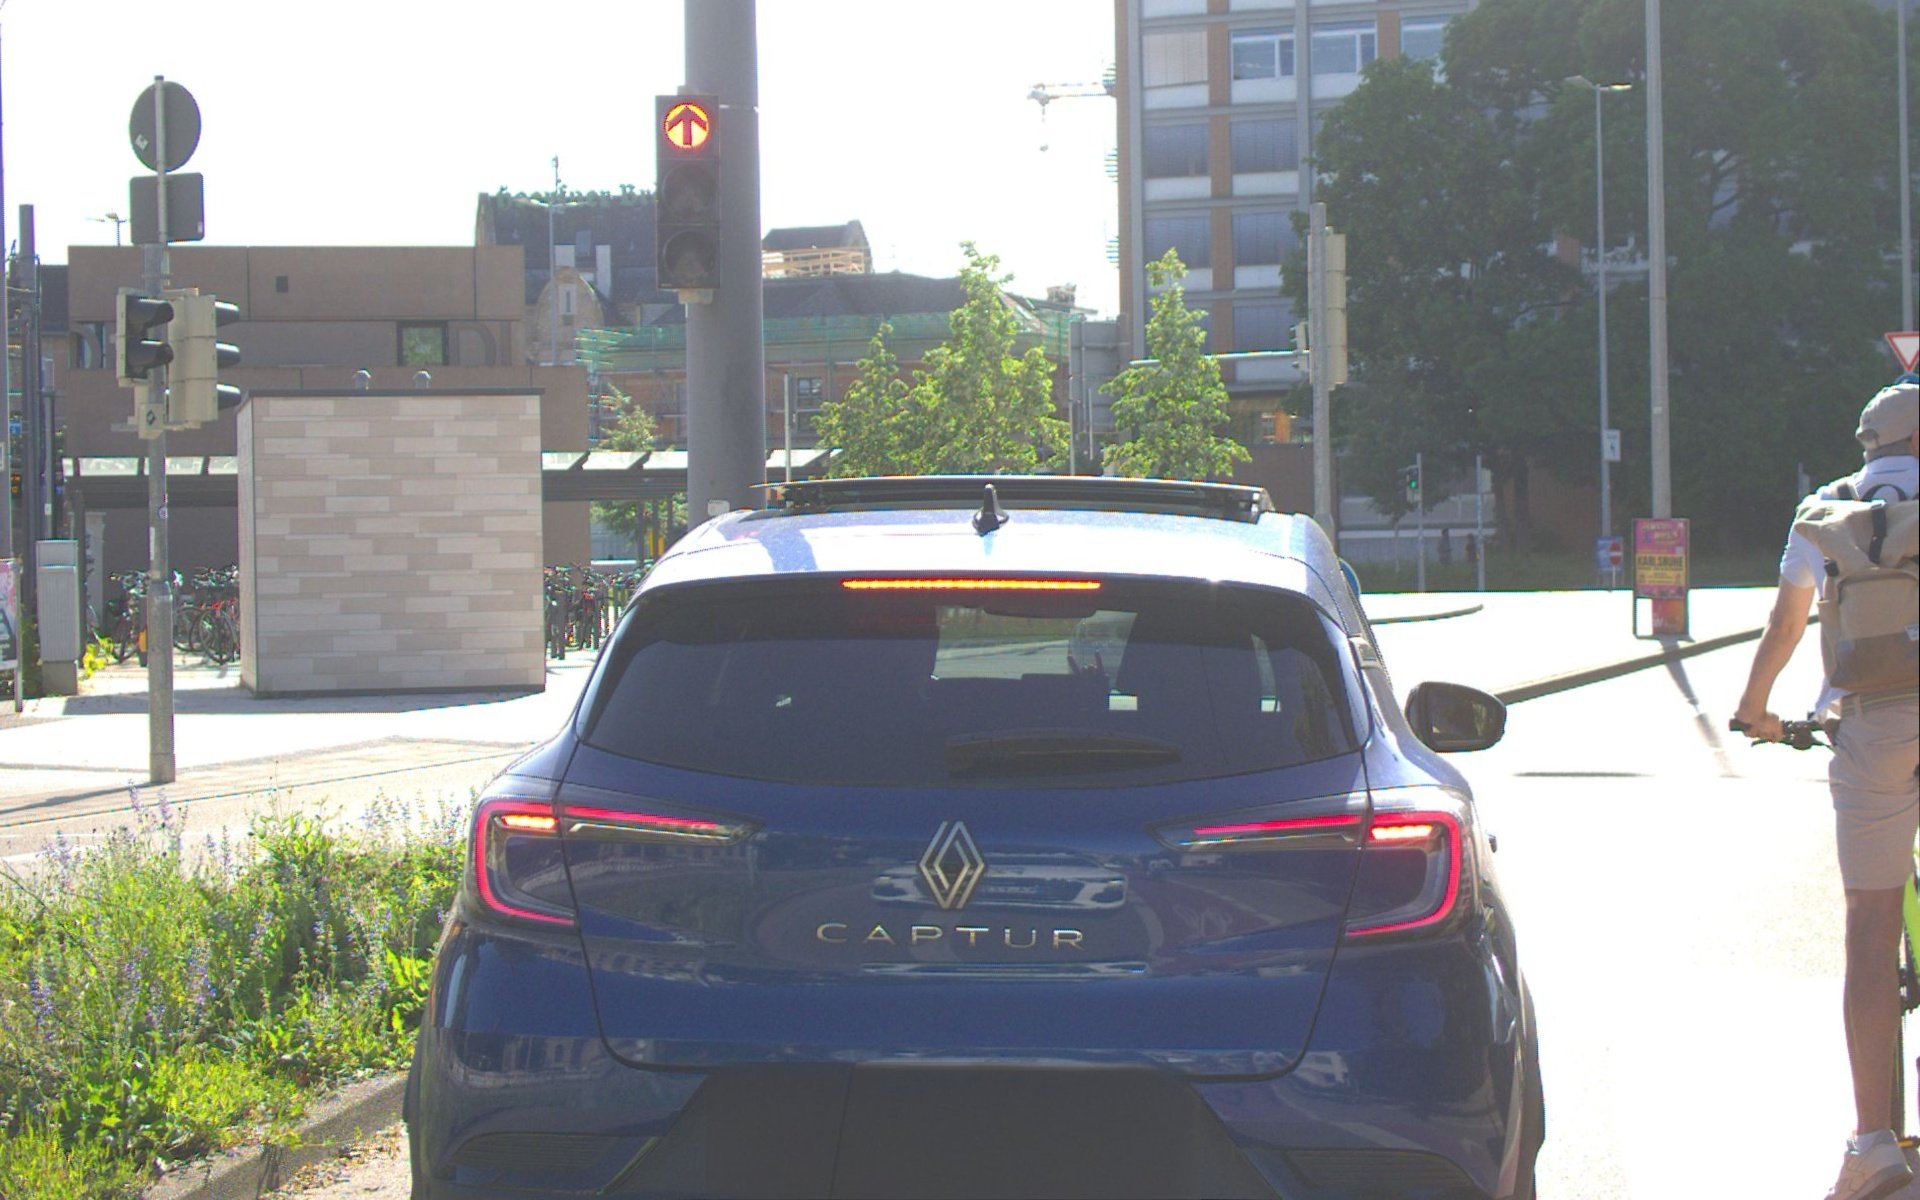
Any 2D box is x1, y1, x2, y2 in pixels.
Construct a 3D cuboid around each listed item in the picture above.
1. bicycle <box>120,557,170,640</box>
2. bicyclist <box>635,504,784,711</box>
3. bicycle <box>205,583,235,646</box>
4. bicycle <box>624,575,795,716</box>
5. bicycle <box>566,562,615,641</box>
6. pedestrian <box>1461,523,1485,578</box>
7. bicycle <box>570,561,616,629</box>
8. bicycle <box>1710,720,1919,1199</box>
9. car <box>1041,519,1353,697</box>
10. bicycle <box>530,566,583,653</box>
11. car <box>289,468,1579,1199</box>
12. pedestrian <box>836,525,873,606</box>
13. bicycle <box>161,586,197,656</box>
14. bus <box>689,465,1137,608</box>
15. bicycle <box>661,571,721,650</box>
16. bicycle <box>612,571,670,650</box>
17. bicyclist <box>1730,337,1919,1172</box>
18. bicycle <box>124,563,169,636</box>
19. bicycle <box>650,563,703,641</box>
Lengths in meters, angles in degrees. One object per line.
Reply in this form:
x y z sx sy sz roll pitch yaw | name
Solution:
-10.881 -0.016 45.916 0.565 1.090 2.030 0 0 -11 | bicycle
-2.031 0.057 28.009 0.880 1.639 1.060 -1 0 14 | bicyclist
-11.329 0.222 52.662 0.421 0.934 1.379 1 1 -11 | bicycle
-2.015 0.350 27.977 0.773 1.077 2.034 -1 0 14 | bicycle
-5.237 0.026 48.700 0.580 1.084 2.059 0 0 -9 | bicycle
15.588 -1.501 104.511 0.561 1.664 0.475 0 0 37 | pedestrian
-5.998 -0.077 56.175 0.580 1.084 1.872 0 0 -11 | bicycle
2.127 0.843 7.751 0.663 1.043 1.890 0 1 7 | bicycle
2.162 0.027 30.256 1.801 1.388 4.089 -1 2 18 | car
-5.016 0.123 42.666 0.580 1.054 1.817 0 0 -9 | bicycle
0.110 0.583 6.690 1.823 1.594 3.658 1 1 5 | car
-2.421 -0.787 78.652 0.726 1.850 0.702 0 0 8 | pedestrian
-10.832 0.286 47.640 0.421 0.934 1.306 1 1 -15 | bicycle
-1.363 -1.521 86.740 12.434 3.384 2.876 0 0 40 | bus
-3.387 0.130 43.128 0.580 0.958 2.059 0 0 -9 | bicycle
-3.999 0.128 43.041 0.580 0.958 2.059 0 0 -9 | bicycle
2.111 0.313 7.658 0.664 1.741 1.005 0 1 7 | bicyclist
-12.352 -0.004 52.226 0.565 1.090 2.030 0 0 -11 | bicycle
-4.028 0.030 48.772 0.580 1.084 2.059 0 0 -9 | bicycle
